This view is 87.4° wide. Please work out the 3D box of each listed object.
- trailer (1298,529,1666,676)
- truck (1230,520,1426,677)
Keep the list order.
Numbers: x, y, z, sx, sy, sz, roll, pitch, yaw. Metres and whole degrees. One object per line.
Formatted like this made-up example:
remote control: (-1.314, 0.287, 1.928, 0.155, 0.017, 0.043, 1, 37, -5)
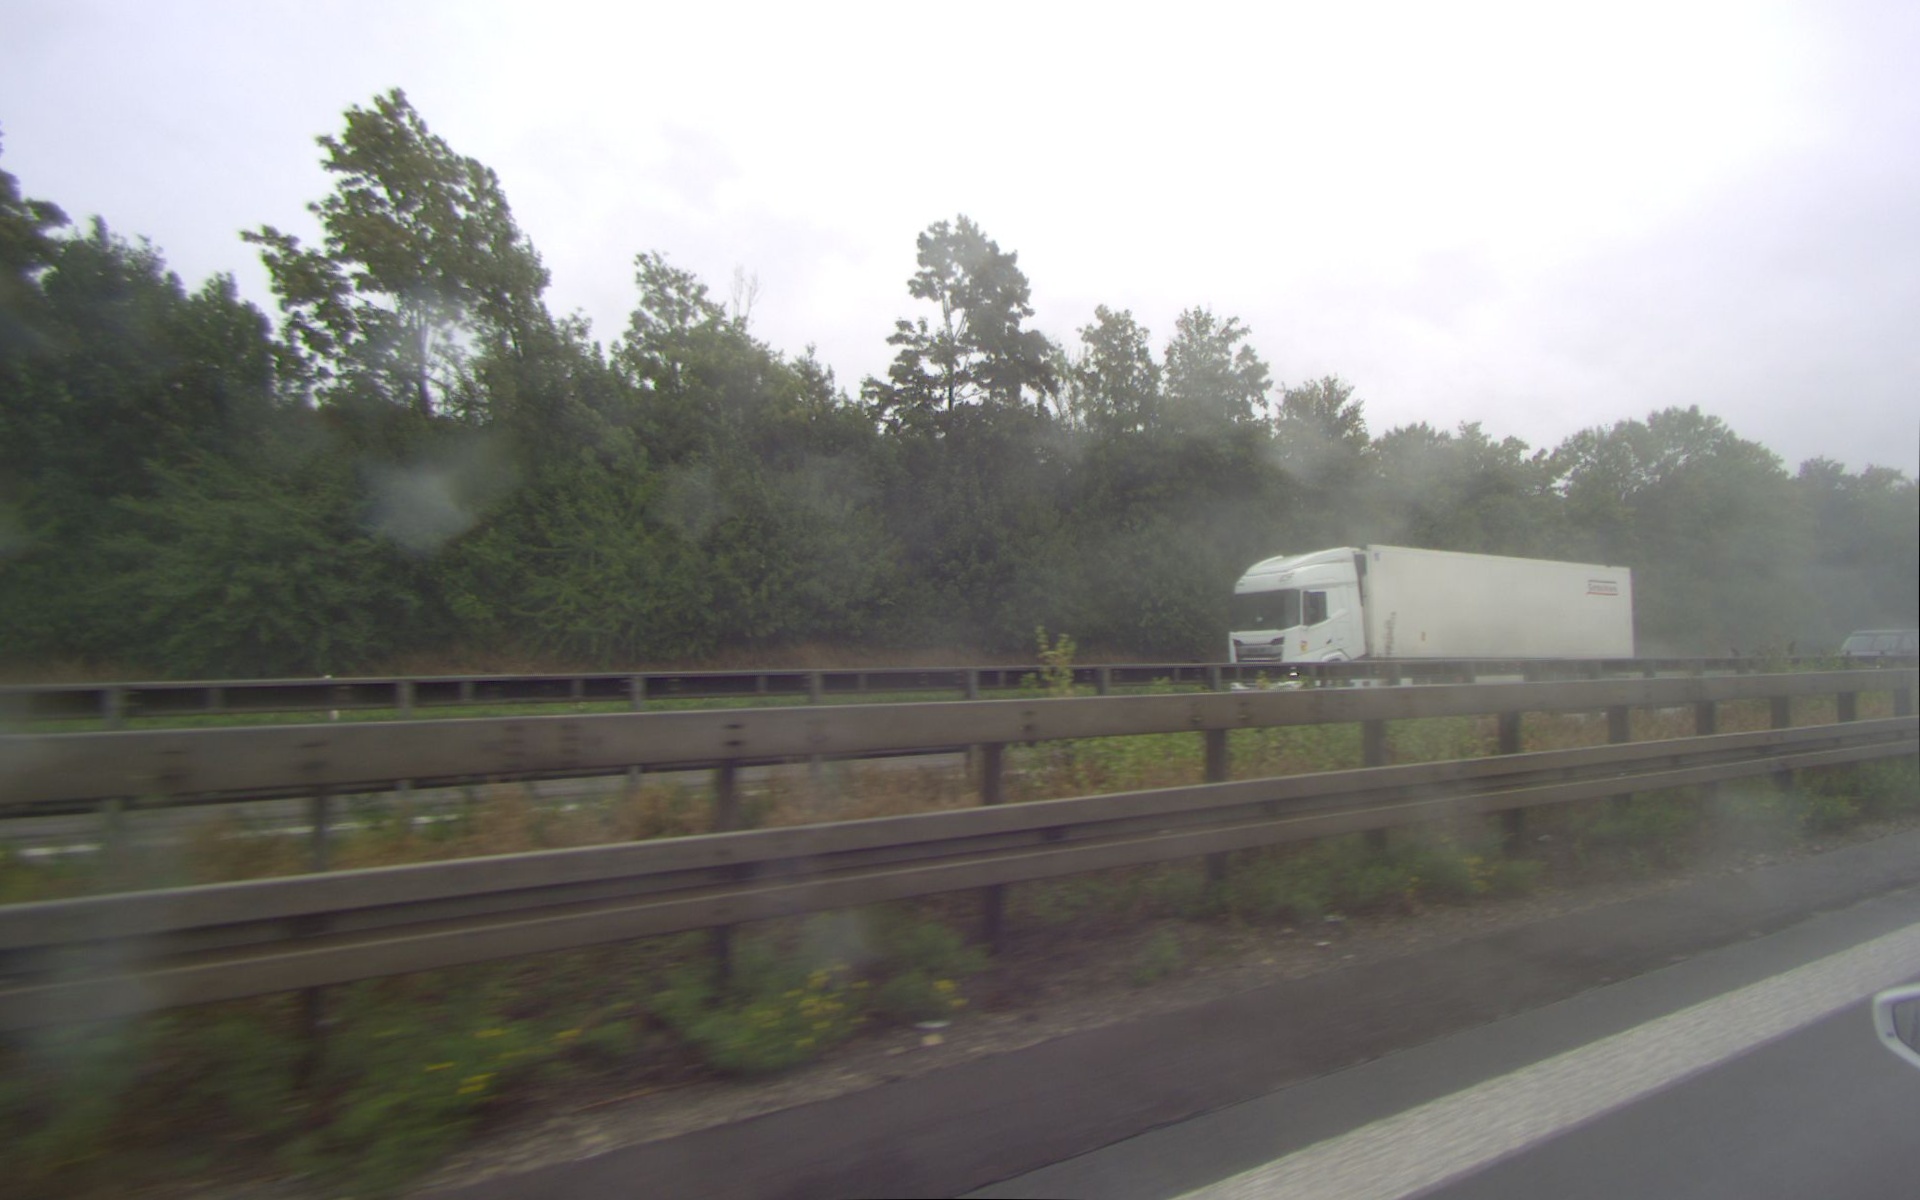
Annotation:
trailer: (16.542, 0.246, 30.798, 15.342, 3.822, 1.992, 2, 0, -30)
truck: (9.897, 0.042, 26.907, 5.163, 3.854, 2.034, 2, -1, -30)
